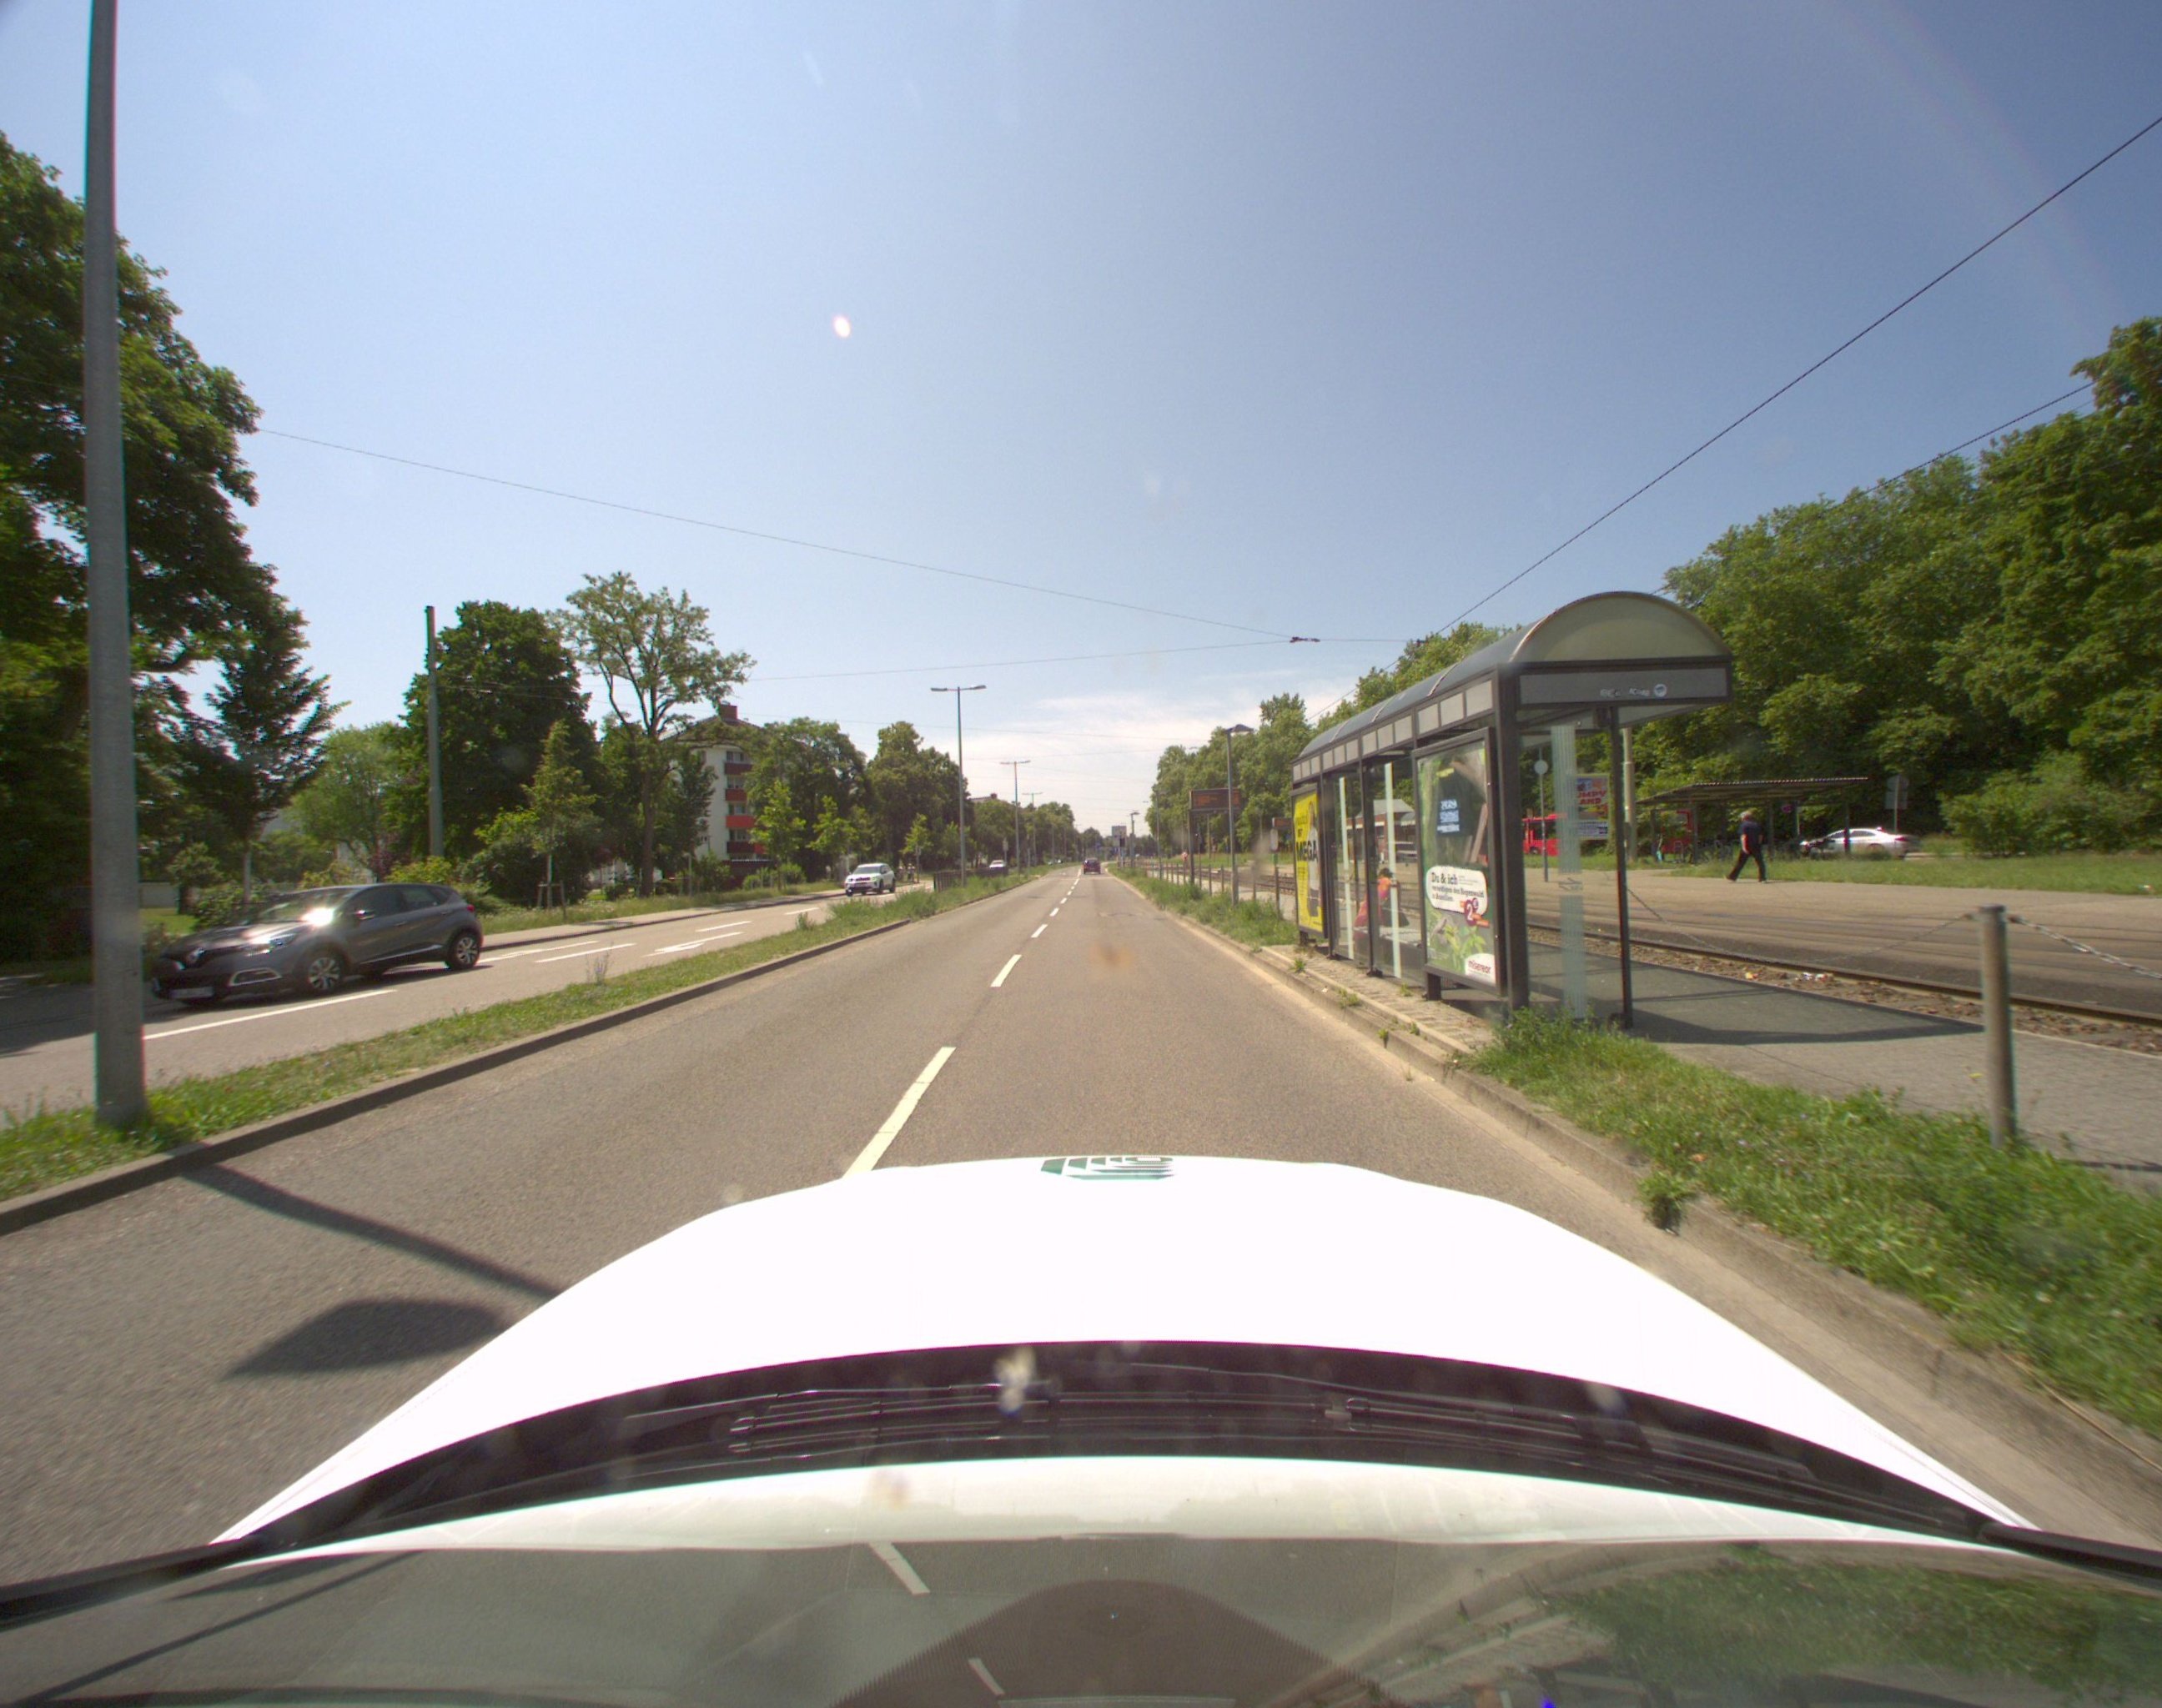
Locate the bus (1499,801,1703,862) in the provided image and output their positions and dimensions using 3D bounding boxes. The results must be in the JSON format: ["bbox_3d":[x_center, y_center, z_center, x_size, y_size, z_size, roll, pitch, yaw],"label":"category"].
[{"bbox_3d":[33.877,-1.266,54.127,2.767,3.439,12.365,0,-1,-19],"label":"bus"}]

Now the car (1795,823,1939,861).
[{"bbox_3d":[38.513,-0.553,40.067,2.000,1.629,4.694,-2,0,-20],"label":"car"}]

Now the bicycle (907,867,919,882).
[{"bbox_3d":[-14.046,1.710,68.084,0.586,1.133,1.615,-3,0,1],"label":"bicycle"}]

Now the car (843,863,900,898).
[{"bbox_3d":[-11.181,1.393,43.742,1.853,1.758,4.479,-1,-1,0],"label":"car"}]

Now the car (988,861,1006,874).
[{"bbox_3d":[-10.642,1.693,103.587,1.815,1.572,4.347,-2,0,1],"label":"car"}]

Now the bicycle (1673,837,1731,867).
[{"bbox_3d":[24.175,-0.103,31.746,0.595,1.087,2.192,-2,2,1],"label":"bicycle"}]

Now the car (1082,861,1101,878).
[{"bbox_3d":[1.035,1.422,77.237,1.697,1.477,3.717,-3,0,1],"label":"car"}]

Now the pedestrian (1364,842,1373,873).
[{"bbox_3d":[15.804,0.194,44.760,0.358,1.646,0.446,-1,-2,3],"label":"pedestrian"}]

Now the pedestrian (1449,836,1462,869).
[{"bbox_3d":[18.371,-0.046,39.927,0.358,1.597,0.613,-1,-2,6],"label":"pedestrian"}]

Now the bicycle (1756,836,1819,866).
[{"bbox_3d":[27.523,-0.140,31.761,0.595,1.087,2.192,-2,2,1],"label":"bicycle"}]

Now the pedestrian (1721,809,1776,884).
[{"bbox_3d":[16.201,-0.182,19.772,0.703,1.764,0.658,-3,-1,2],"label":"pedestrian"}]

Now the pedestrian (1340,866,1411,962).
[{"bbox_3d":[3.373,0.675,9.358,0.573,1.040,0.579,-2,-1,1],"label":"pedestrian"}]

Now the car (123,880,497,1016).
[{"bbox_3d":[-11.312,1.264,12.443,1.762,1.554,4.081,-4,-1,-1],"label":"car"}]

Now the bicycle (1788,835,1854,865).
[{"bbox_3d":[28.683,-0.158,31.612,0.595,1.087,2.192,-2,2,1],"label":"bicycle"}]

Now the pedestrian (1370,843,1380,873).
[{"bbox_3d":[15.920,0.217,44.093,0.358,1.597,0.483,-1,-2,3],"label":"pedestrian"}]

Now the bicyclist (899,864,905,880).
[{"bbox_3d":[-14.920,1.496,67.902,0.356,1.392,0.441,-1,-1,3],"label":"bicyclist"}]

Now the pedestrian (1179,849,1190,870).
[{"bbox_3d":[8.755,0.508,69.080,0.635,1.759,0.813,0,-2,-13],"label":"pedestrian"}]

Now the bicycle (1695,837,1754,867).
[{"bbox_3d":[25.058,-0.109,31.738,0.595,1.087,2.192,-2,2,1],"label":"bicycle"}]

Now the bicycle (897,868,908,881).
[{"bbox_3d":[-14.937,1.710,67.997,0.552,1.094,1.380,-1,-1,2],"label":"bicycle"}]

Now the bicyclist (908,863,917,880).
[{"bbox_3d":[-14.035,1.473,68.008,0.543,1.346,0.755,-3,-1,0],"label":"bicyclist"}]
